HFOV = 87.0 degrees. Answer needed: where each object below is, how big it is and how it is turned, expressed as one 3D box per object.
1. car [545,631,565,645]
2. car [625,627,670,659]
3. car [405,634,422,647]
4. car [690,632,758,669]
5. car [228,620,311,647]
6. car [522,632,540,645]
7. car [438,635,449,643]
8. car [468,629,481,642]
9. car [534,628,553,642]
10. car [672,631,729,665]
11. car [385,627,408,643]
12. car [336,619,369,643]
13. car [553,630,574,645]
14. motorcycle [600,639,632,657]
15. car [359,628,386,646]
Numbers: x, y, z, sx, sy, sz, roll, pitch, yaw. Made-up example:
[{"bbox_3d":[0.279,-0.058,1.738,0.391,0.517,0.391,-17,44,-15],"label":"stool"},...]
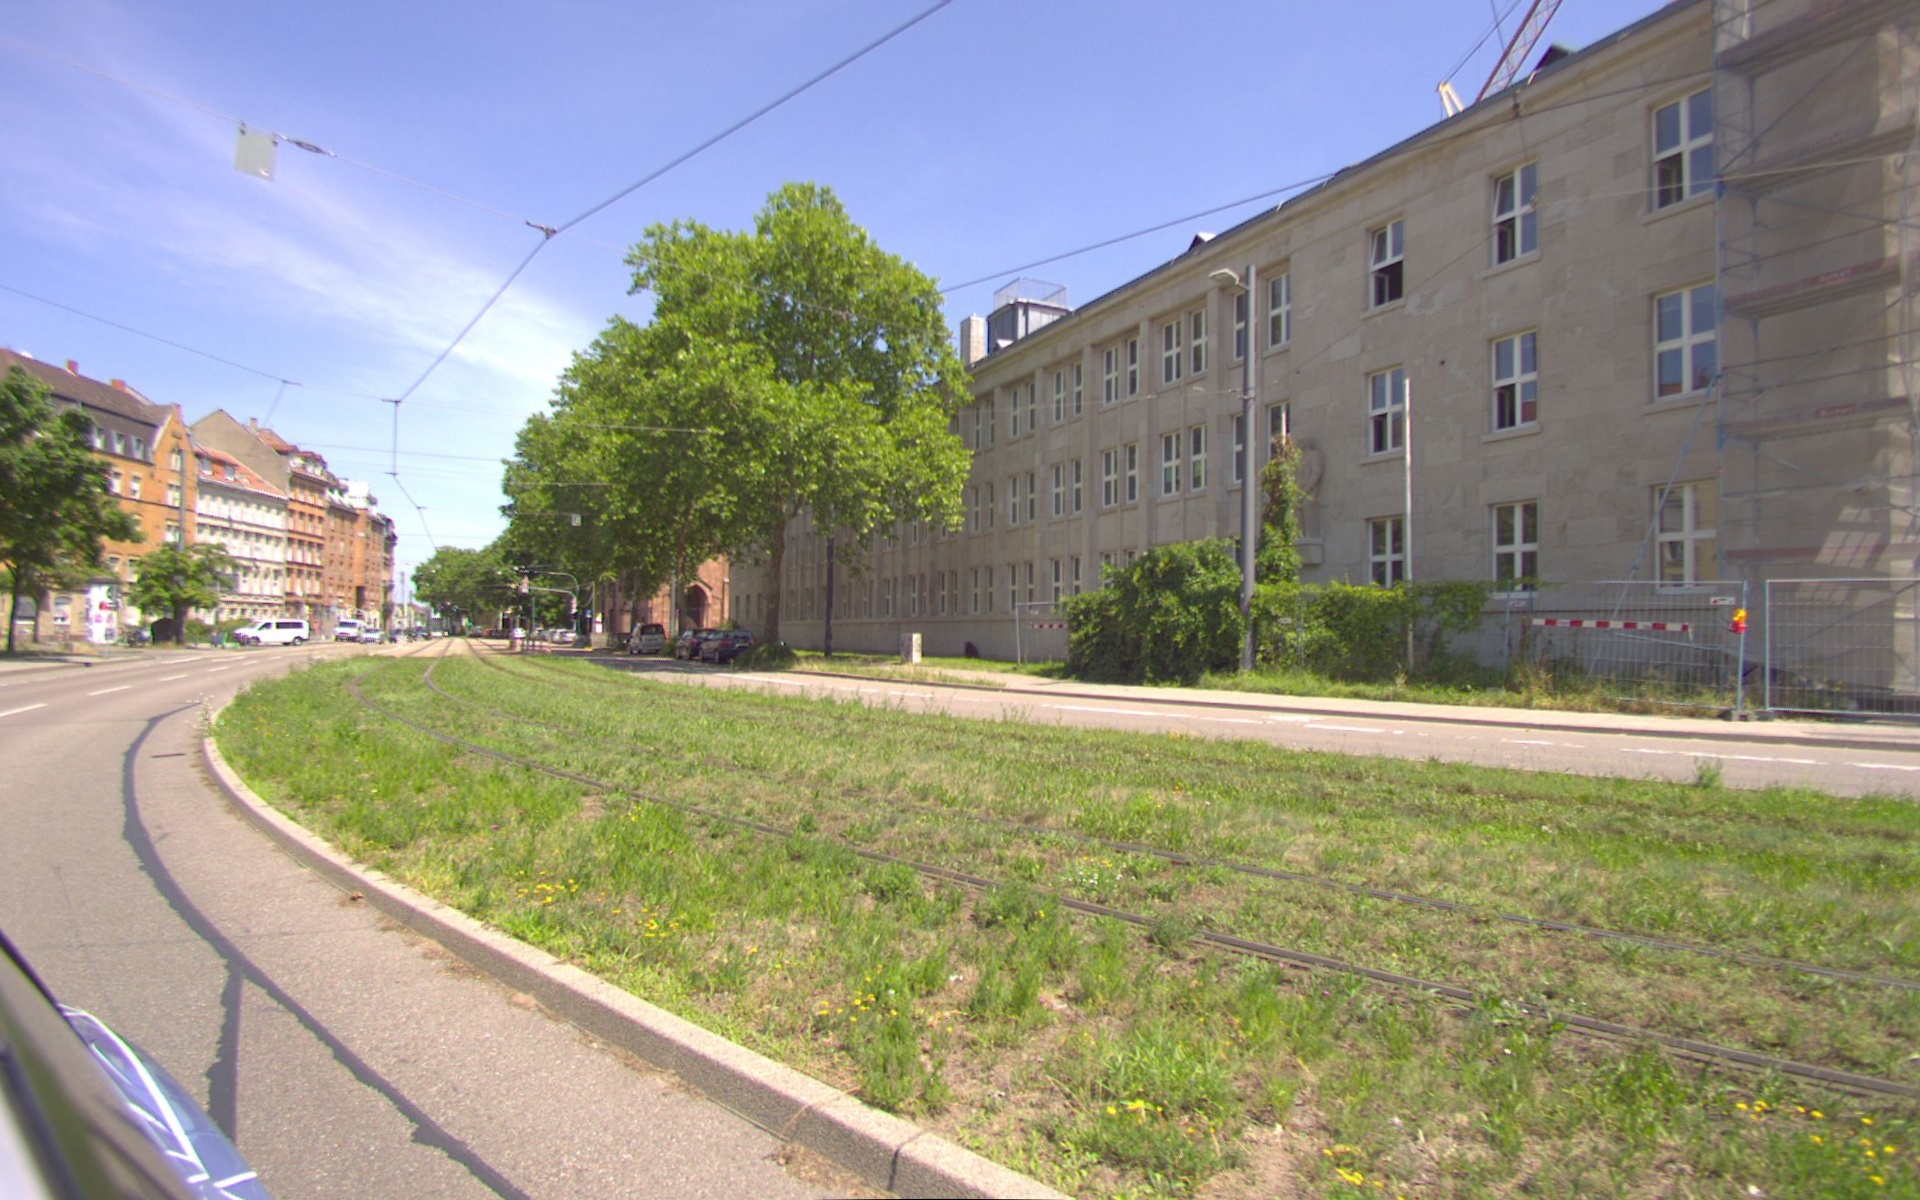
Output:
[{"bbox_3d":[-44.865,4.155,112.024,1.635,1.470,4.071,0,-2,-28],"label":"car"},{"bbox_3d":[-18.676,2.536,60.317,1.965,1.825,4.315,0,-2,-25],"label":"car"},{"bbox_3d":[-67.070,4.977,124.297,1.770,1.586,4.012,0,-2,-28],"label":"car"},{"bbox_3d":[-9.968,2.076,42.444,1.566,1.434,4.336,0,-2,-30],"label":"car"},{"bbox_3d":[-52.328,2.523,76.790,2.156,1.953,4.810,-1,-2,27],"label":"car"},{"bbox_3d":[-58.375,5.165,137.699,1.965,1.730,4.013,0,-2,-27],"label":"car"},{"bbox_3d":[-97.574,7.400,191.253,1.722,1.405,4.360,-1,-1,-30],"label":"car"},{"bbox_3d":[-87.041,6.334,181.426,1.791,2.314,3.773,0,-2,-29],"label":"car"},{"bbox_3d":[-50.116,4.203,121.776,1.718,1.535,3.765,0,-2,-28],"label":"car"},{"bbox_3d":[-12.218,2.205,47.473,1.738,1.494,4.337,0,-2,-26],"label":"car"},{"bbox_3d":[-57.420,3.563,103.217,1.770,1.586,4.013,0,-2,-25],"label":"car"},{"bbox_3d":[-63.745,3.296,106.317,1.965,2.348,5.425,4,-3,-22],"label":"car"},{"bbox_3d":[-40.513,3.824,103.425,1.635,1.470,4.234,0,-2,-27],"label":"car"},{"bbox_3d":[-21.684,3.031,63.849,0.725,1.076,1.851,-2,-1,32],"label":"motorcycle"},{"bbox_3d":[-52.738,3.312,90.951,1.770,1.586,4.013,0,-2,-25],"label":"car"}]
